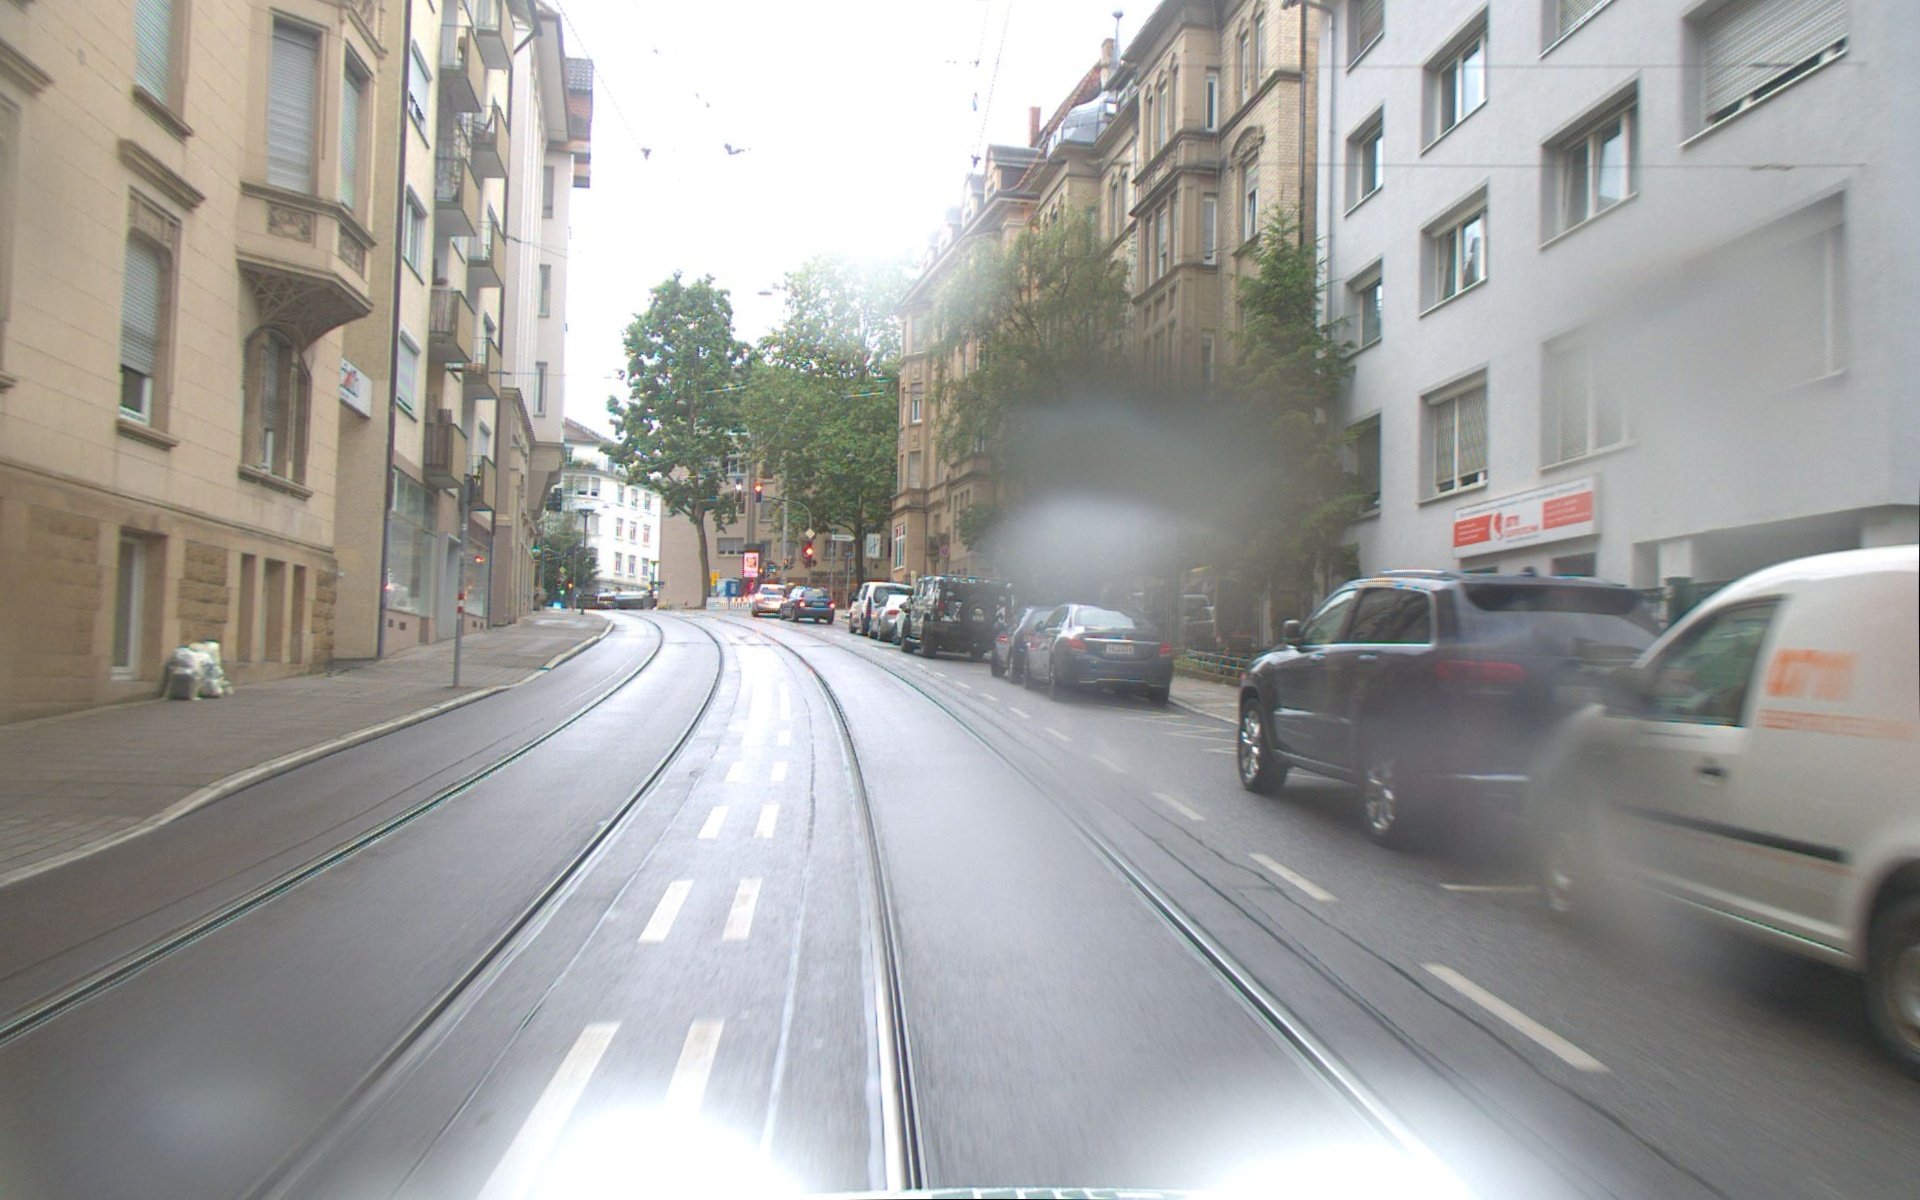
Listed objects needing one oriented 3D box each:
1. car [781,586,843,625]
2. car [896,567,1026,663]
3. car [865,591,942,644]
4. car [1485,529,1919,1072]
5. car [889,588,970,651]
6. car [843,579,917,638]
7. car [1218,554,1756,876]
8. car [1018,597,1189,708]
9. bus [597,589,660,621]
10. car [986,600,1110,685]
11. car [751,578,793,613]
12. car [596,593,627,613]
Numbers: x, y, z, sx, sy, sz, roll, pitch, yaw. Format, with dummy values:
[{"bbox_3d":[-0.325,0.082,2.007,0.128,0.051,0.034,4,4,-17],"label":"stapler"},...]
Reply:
[{"bbox_3d":[-6.263,0.209,69.642,1.684,1.440,4.016,2,1,-18],"label":"car"},{"bbox_3d":[-0.071,0.321,40.182,2.091,2.048,5.336,4,0,-11],"label":"car"},{"bbox_3d":[-1.799,0.509,51.191,1.717,1.425,4.468,4,0,-10],"label":"car"},{"bbox_3d":[3.992,0.709,6.920,1.744,1.826,4.466,3,0,-6],"label":"car"},{"bbox_3d":[-0.880,0.502,46.117,1.533,1.573,3.574,4,0,-12],"label":"car"},{"bbox_3d":[-2.751,0.253,56.154,1.766,1.795,4.450,4,0,-12],"label":"car"},{"bbox_3d":[3.501,0.684,12.139,1.905,1.826,4.814,3,0,-7],"label":"car"},{"bbox_3d":[2.120,0.736,25.713,1.760,1.462,4.605,3,0,-6],"label":"car"},{"bbox_3d":[-32.132,0.455,160.609,2.793,2.911,8.741,1,1,12],"label":"bus"},{"bbox_3d":[1.541,0.731,30.268,1.646,1.361,3.878,3,0,-6],"label":"car"},{"bbox_3d":[-8.596,-0.207,75.599,1.679,1.481,3.545,2,1,-9],"label":"car"},{"bbox_3d":[-27.681,0.247,131.501,1.758,1.536,3.998,-1,1,-3],"label":"car"}]
